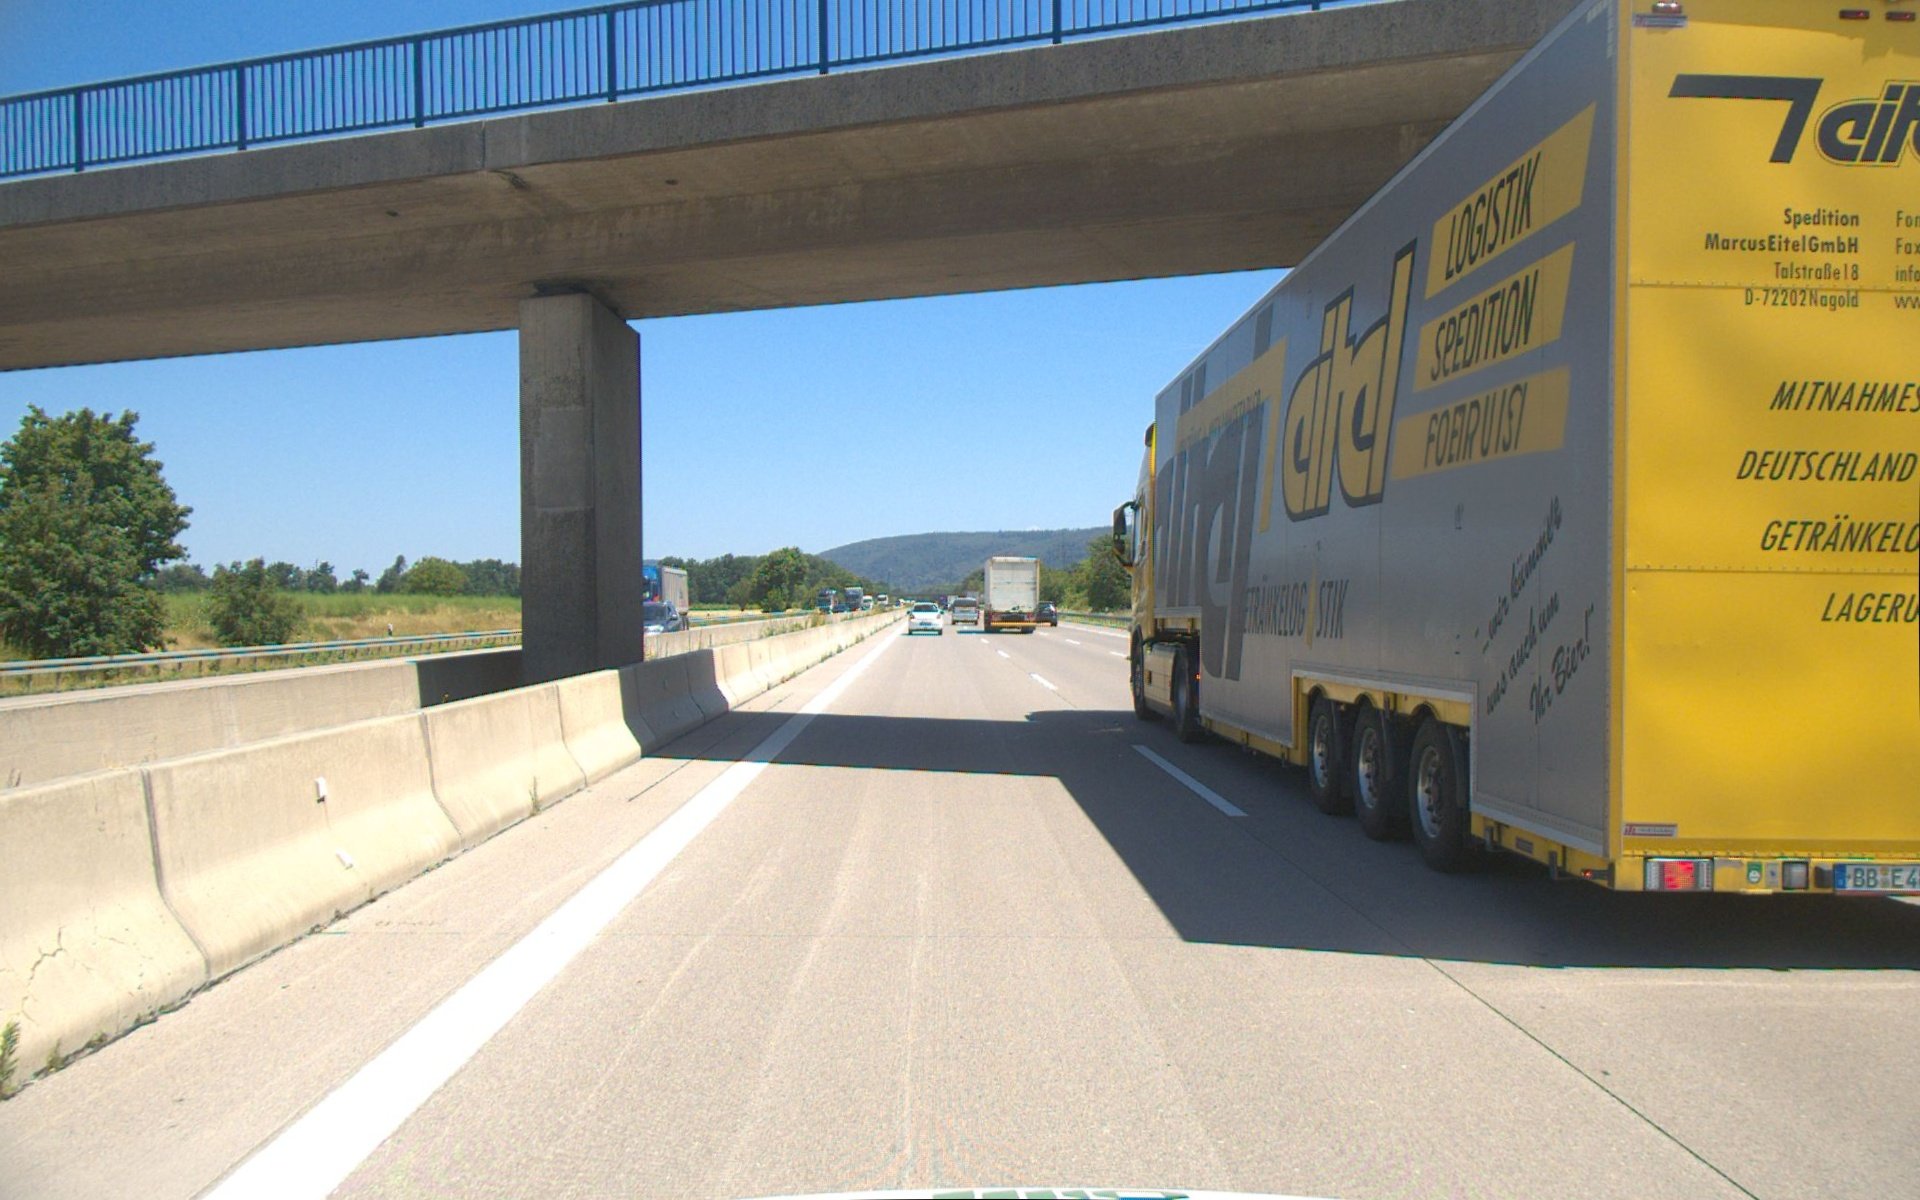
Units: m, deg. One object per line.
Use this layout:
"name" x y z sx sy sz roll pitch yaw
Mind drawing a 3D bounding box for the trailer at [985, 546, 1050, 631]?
"trailer" 2.755 -0.511 82.458 2.529 3.945 10.369 1 0 -2

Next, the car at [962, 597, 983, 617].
"car" 1.234 0.730 166.061 1.953 1.881 3.999 3 0 -2

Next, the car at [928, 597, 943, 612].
"car" -3.324 0.635 227.805 1.953 1.881 3.999 3 0 -2

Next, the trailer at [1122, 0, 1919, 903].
"trailer" 3.449 -0.761 15.216 1.953 4.329 15.194 1 0 -2

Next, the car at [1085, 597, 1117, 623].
"car" 10.755 0.736 126.546 1.953 1.881 3.999 3 0 -2

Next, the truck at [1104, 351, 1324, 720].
"truck" 3.234 -0.757 22.165 1.953 4.329 5.193 1 0 -2

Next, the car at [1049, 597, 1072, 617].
"car" 10.121 0.676 166.988 1.953 1.881 3.999 3 0 -2

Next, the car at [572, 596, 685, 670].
"car" -9.707 0.923 48.937 2.259 2.049 5.654 1 0 -1

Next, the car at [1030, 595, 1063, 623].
"car" 6.041 0.616 116.087 1.953 1.881 3.999 3 0 -2

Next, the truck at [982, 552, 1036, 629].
"truck" 2.547 -0.475 87.904 2.529 3.945 4.982 1 0 -2

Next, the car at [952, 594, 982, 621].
"car" 0.496 0.564 119.361 1.953 1.881 3.999 1 0 -2

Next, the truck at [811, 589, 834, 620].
"truck" -21.485 0.731 259.156 3.166 4.687 6.249 1 0 -1

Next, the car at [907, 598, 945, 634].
"car" -1.704 0.764 80.664 1.783 1.691 3.998 0 0 -2

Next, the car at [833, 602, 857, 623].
"car" -11.001 1.175 158.831 1.953 1.895 5.465 1 0 -1

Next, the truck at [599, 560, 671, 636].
"truck" -18.420 -0.105 94.079 2.921 4.162 6.463 -1 0 -1

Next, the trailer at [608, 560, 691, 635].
"trailer" -18.496 -0.142 99.390 2.921 4.161 11.602 -1 0 -1
